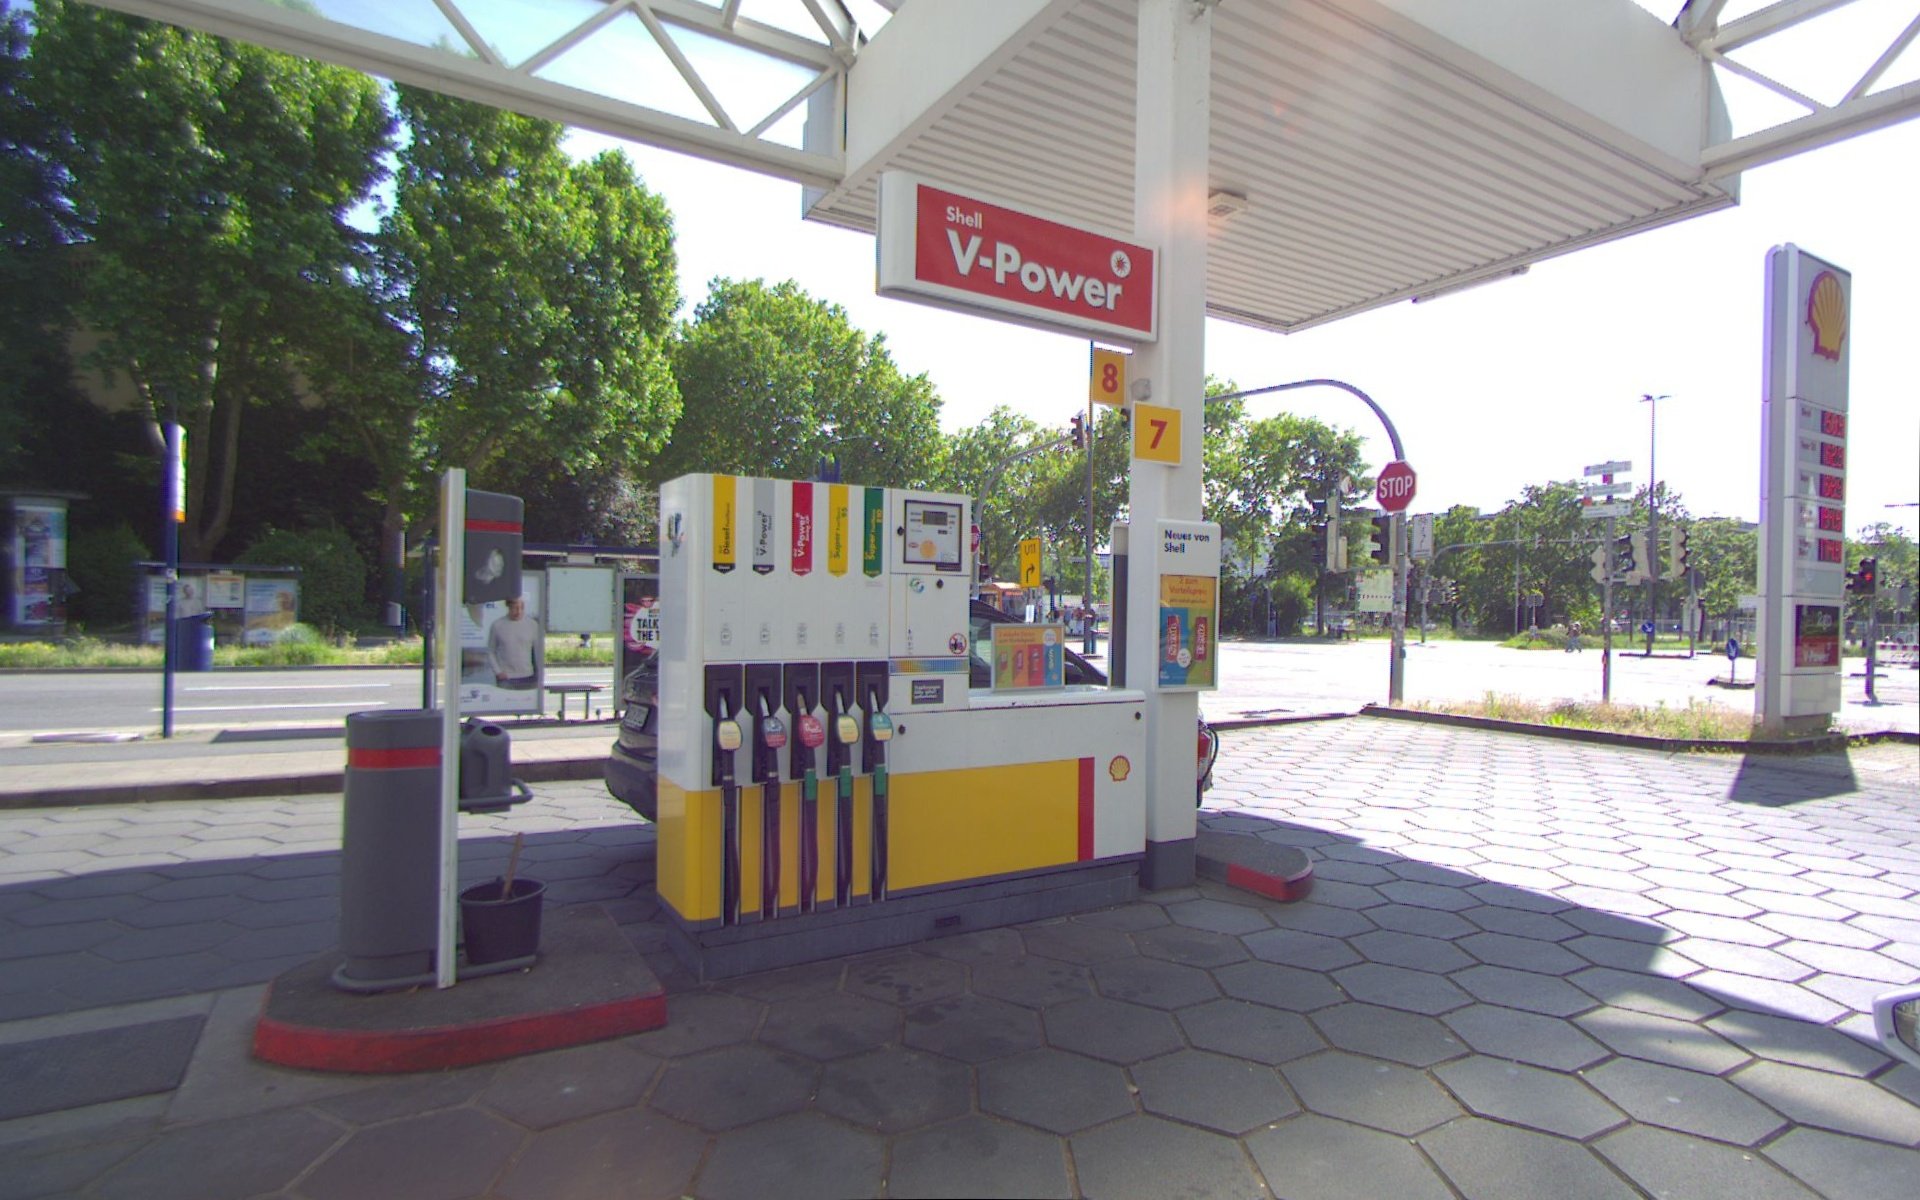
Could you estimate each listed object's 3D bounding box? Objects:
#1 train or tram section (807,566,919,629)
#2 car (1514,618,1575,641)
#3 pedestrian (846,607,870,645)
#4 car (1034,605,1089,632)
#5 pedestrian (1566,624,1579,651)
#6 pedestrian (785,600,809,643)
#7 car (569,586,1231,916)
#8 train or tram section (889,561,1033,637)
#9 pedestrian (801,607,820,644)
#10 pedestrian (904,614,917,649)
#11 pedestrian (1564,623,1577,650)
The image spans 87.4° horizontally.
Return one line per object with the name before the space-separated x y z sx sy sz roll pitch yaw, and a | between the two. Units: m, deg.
train or tram section | -8.121 -0.168 80.305 2.302 4.549 15.793 2 -1 -31
car | 48.589 2.509 83.515 1.974 1.839 3.974 2 -3 -26
pedestrian | -4.735 1.213 46.728 0.678 1.746 0.865 -1 -3 44
car | 7.895 1.463 78.322 1.979 2.040 4.408 2 -3 -33
pedestrian | 33.839 2.056 55.516 0.555 1.488 0.512 1 0 35
pedestrian | -7.199 0.961 44.357 0.759 1.881 0.722 -1 -2 33
car | -0.286 0.785 6.528 3.955 1.552 1.734 2 -2 -32
train or tram section | -0.343 -0.057 67.186 2.302 4.549 14.819 2 -1 -31
pedestrian | -6.933 1.186 46.667 0.773 1.696 0.559 1 -2 -19
pedestrian | -2.858 1.807 57.621 0.691 2.013 0.741 1 -2 -1
pedestrian | 34.261 2.054 56.361 0.555 1.488 0.512 1 0 35
